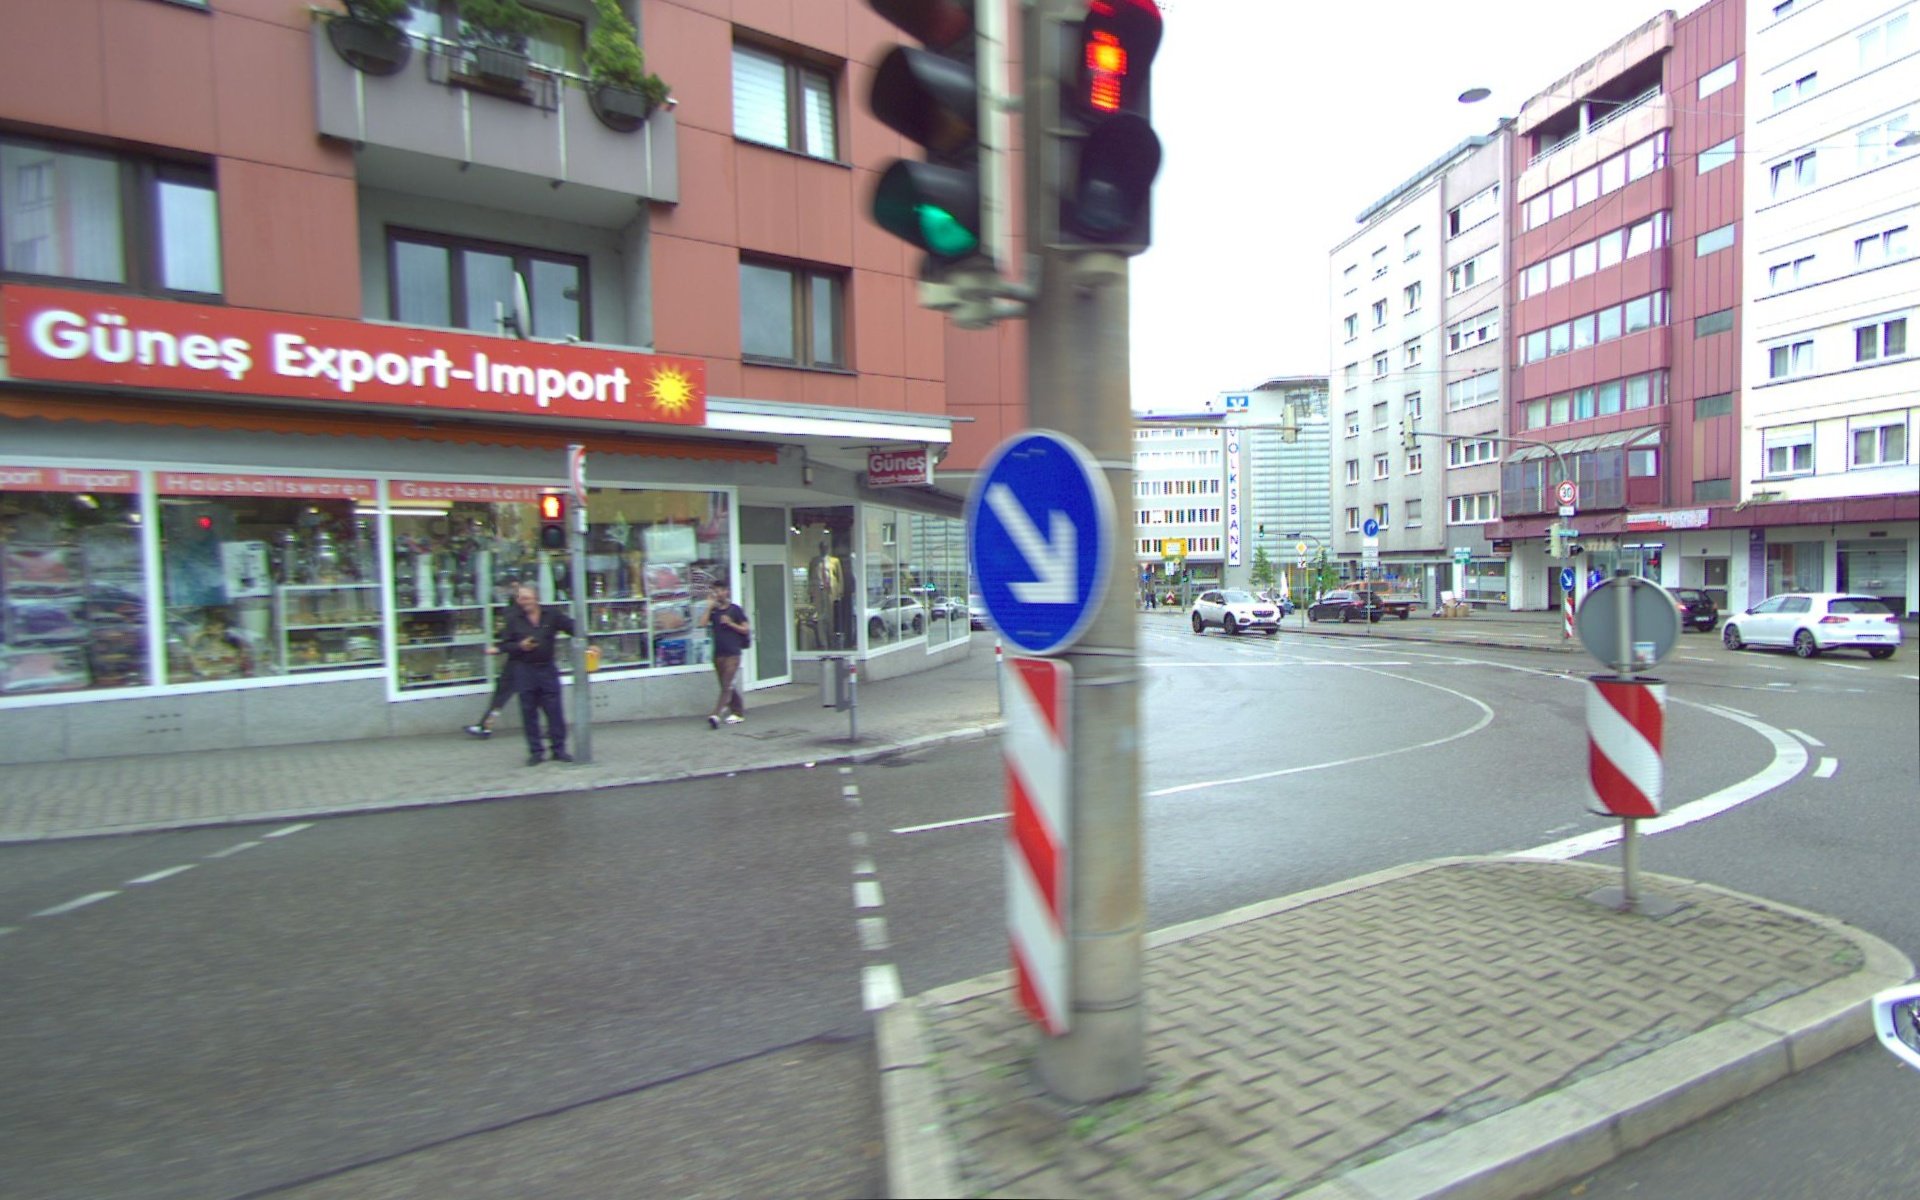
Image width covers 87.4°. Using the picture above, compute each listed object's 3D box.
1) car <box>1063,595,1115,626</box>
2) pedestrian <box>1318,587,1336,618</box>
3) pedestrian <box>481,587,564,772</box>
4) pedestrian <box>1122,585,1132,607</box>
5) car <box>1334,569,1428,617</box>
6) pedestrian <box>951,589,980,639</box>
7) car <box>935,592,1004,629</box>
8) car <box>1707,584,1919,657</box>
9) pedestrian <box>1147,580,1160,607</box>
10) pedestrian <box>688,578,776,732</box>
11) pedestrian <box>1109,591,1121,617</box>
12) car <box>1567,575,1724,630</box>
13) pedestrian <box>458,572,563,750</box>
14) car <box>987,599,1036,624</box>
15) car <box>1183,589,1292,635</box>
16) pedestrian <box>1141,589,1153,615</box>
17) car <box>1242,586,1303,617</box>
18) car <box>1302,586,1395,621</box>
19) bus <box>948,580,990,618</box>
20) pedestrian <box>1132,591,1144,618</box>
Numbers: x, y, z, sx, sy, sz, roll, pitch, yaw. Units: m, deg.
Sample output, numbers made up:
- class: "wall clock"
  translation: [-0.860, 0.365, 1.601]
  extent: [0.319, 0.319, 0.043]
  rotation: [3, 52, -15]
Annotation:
- class: "car"
  translation: [8.591, 0.662, 67.136]
  extent: [1.965, 1.814, 4.724]
  rotation: [1, 2, -12]
- class: "pedestrian"
  translation: [24.653, 0.170, 67.432]
  extent: [0.847, 2.040, 0.805]
  rotation: [1, 1, -37]
- class: "pedestrian"
  translation: [-4.254, 0.746, 9.762]
  extent: [0.618, 1.720, 0.550]
  rotation: [1, 1, -38]
- class: "pedestrian"
  translation: [15.632, -0.408, 93.977]
  extent: [0.798, 2.040, 0.855]
  rotation: [1, 0, 2]
- class: "car"
  translation: [21.300, -0.405, 51.127]
  extent: [2.206, 2.258, 5.425]
  rotation: [2, 1, -3]
- class: "pedestrian"
  translation: [0.179, 0.460, 33.494]
  extent: [0.816, 1.647, 0.722]
  rotation: [1, 1, -13]
- class: "car"
  translation: [0.340, 0.407, 43.063]
  extent: [1.965, 1.426, 4.724]
  rotation: [1, 1, -12]
- class: "car"
  translation: [20.346, 0.410, 24.240]
  extent: [1.841, 1.515, 4.402]
  rotation: [2, 1, 9]
- class: "pedestrian"
  translation: [14.902, -0.504, 77.405]
  extent: [0.798, 2.040, 0.855]
  rotation: [1, 0, 2]
- class: "pedestrian"
  translation: [-2.866, 0.664, 12.654]
  extent: [0.813, 1.856, 0.724]
  rotation: [1, 1, 14]
- class: "pedestrian"
  translation: [12.230, 0.318, 79.077]
  extent: [0.798, 2.040, 0.855]
  rotation: [1, 0, 2]
- class: "car"
  translation: [23.397, 0.016, 34.531]
  extent: [1.796, 1.681, 4.487]
  rotation: [2, 1, -10]
- class: "pedestrian"
  translation: [-4.982, 0.643, 11.138]
  extent: [0.838, 1.873, 0.753]
  rotation: [0, 1, -44]
- class: "car"
  translation: [3.208, 0.688, 63.881]
  extent: [1.965, 1.501, 4.725]
  rotation: [-1, 0, -12]
- class: "car"
  translation: [10.284, 0.397, 37.609]
  extent: [1.965, 1.577, 4.725]
  rotation: [-1, 0, -12]
- class: "pedestrian"
  translation: [14.781, 0.175, 79.538]
  extent: [0.798, 2.040, 0.855]
  rotation: [1, 0, 2]
- class: "car"
  translation: [18.082, 0.059, 58.380]
  extent: [1.894, 1.535, 4.660]
  rotation: [4, 1, -2]
- class: "car"
  translation: [17.790, 0.162, 46.202]
  extent: [1.965, 1.506, 4.227]
  rotation: [1, 0, -12]
- class: "bus"
  translation: [0.921, -0.038, 110.739]
  extent: [2.867, 4.006, 9.468]
  rotation: [0, 0, -10]
- class: "pedestrian"
  translation: [13.874, 0.363, 78.441]
  extent: [0.798, 2.040, 0.855]
  rotation: [1, 0, 2]
